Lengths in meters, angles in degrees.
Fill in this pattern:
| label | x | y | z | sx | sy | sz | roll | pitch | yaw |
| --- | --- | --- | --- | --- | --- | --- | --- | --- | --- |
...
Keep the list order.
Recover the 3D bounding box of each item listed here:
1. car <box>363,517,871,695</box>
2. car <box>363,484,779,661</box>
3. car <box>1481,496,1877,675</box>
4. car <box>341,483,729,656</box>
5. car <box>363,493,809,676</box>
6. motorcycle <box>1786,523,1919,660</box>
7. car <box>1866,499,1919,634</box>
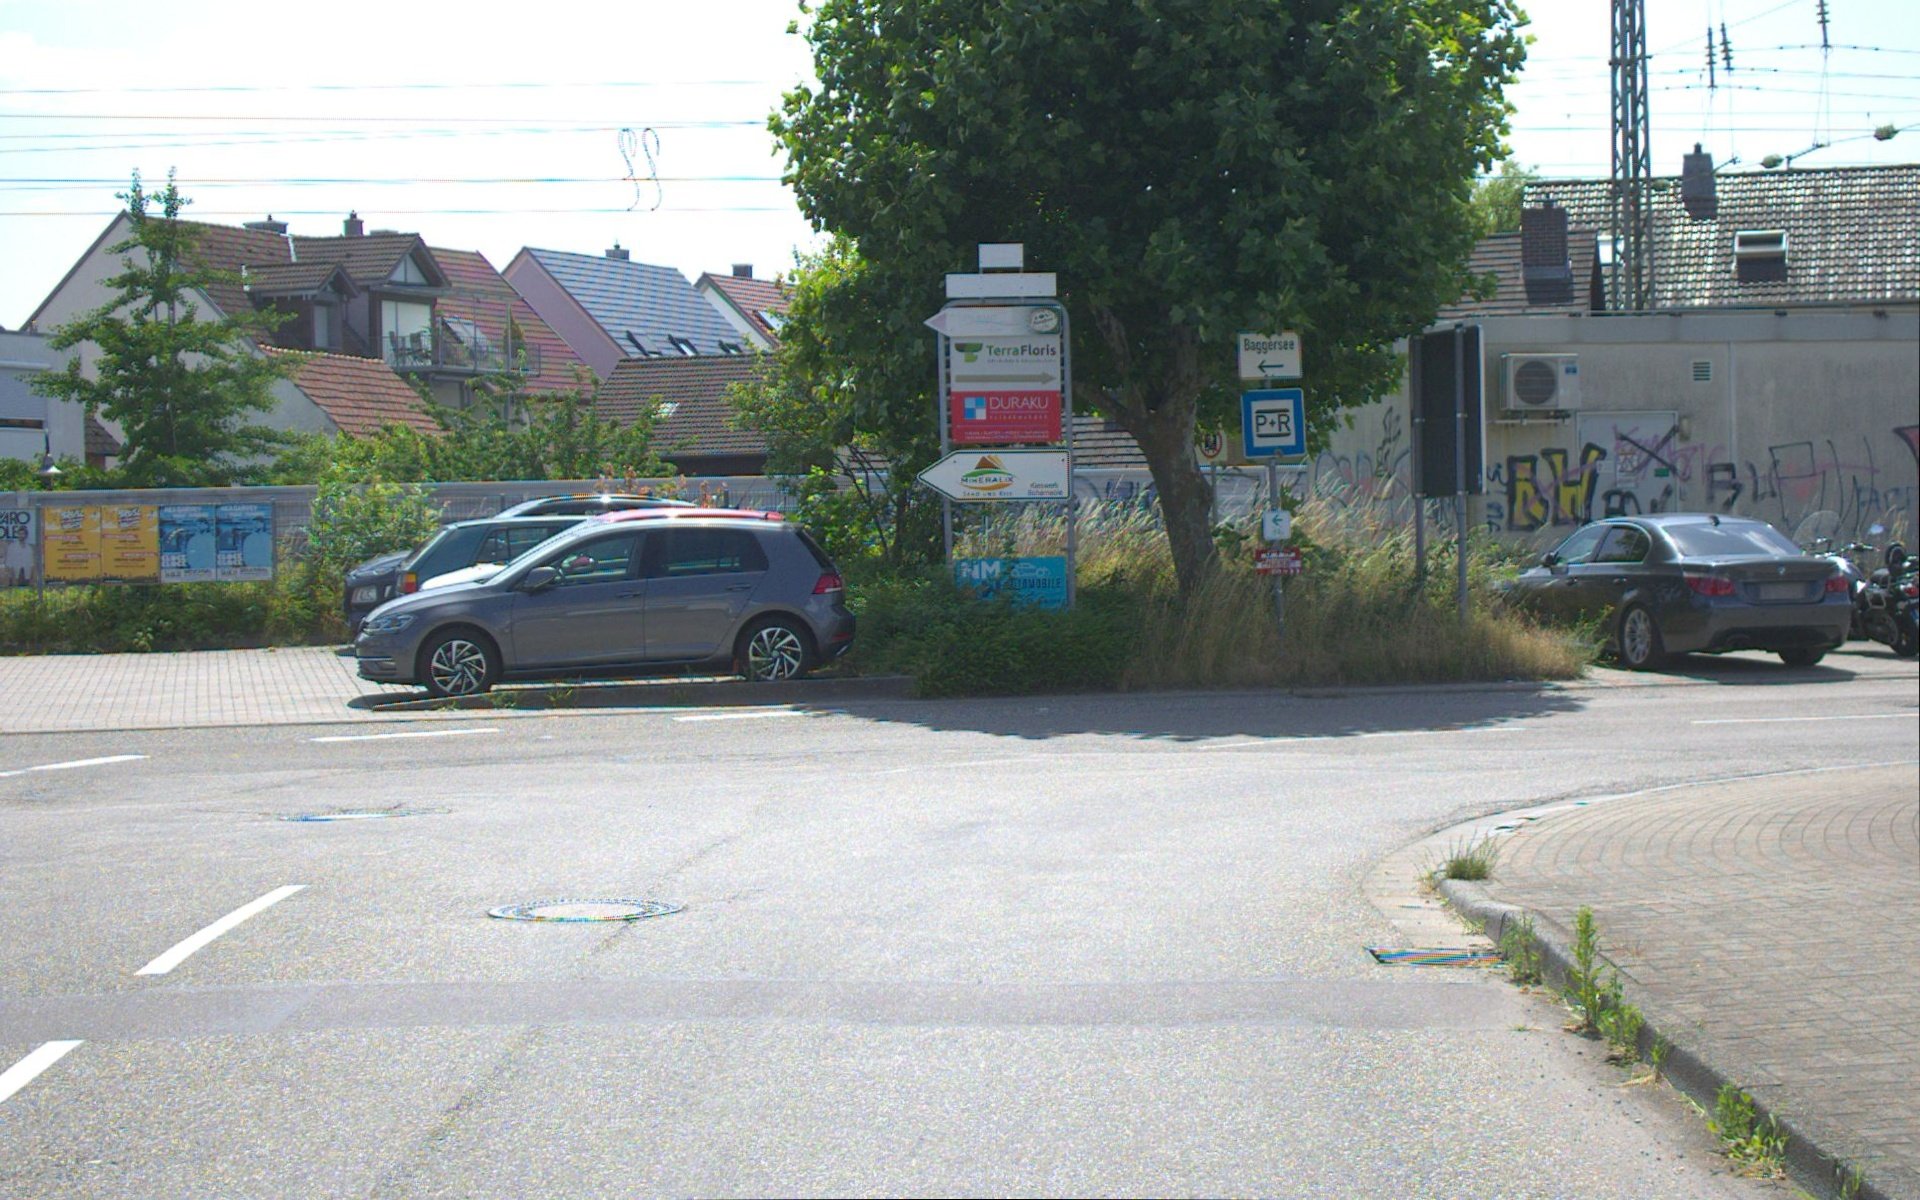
| label | x | y | z | sx | sy | sz | roll | pitch | yaw |
| --- | --- | --- | --- | --- | --- | --- | --- | --- | --- |
| car | -2.937 | 0.039 | 29.279 | 4.186 | 1.458 | 1.665 | 0 | 1 | -8 |
| car | -3.909 | -0.294 | 34.298 | 3.986 | 1.652 | 2.001 | -1 | 1 | -9 |
| car | 6.692 | -0.181 | 32.438 | 1.751 | 1.381 | 4.002 | 0 | 4 | -20 |
| car | -4.562 | -0.320 | 36.744 | 3.986 | 1.724 | 1.771 | 1 | 0 | -9 |
| car | -3.499 | -0.157 | 31.928 | 3.986 | 1.581 | 1.780 | -1 | 1 | -9 |
| motorcycle | 8.937 | -0.101 | 33.400 | 0.897 | 1.224 | 1.997 | -1 | 3 | -16 |
| car | 11.041 | -0.283 | 34.590 | 1.702 | 1.372 | 4.116 | 0 | 2 | -19 |
